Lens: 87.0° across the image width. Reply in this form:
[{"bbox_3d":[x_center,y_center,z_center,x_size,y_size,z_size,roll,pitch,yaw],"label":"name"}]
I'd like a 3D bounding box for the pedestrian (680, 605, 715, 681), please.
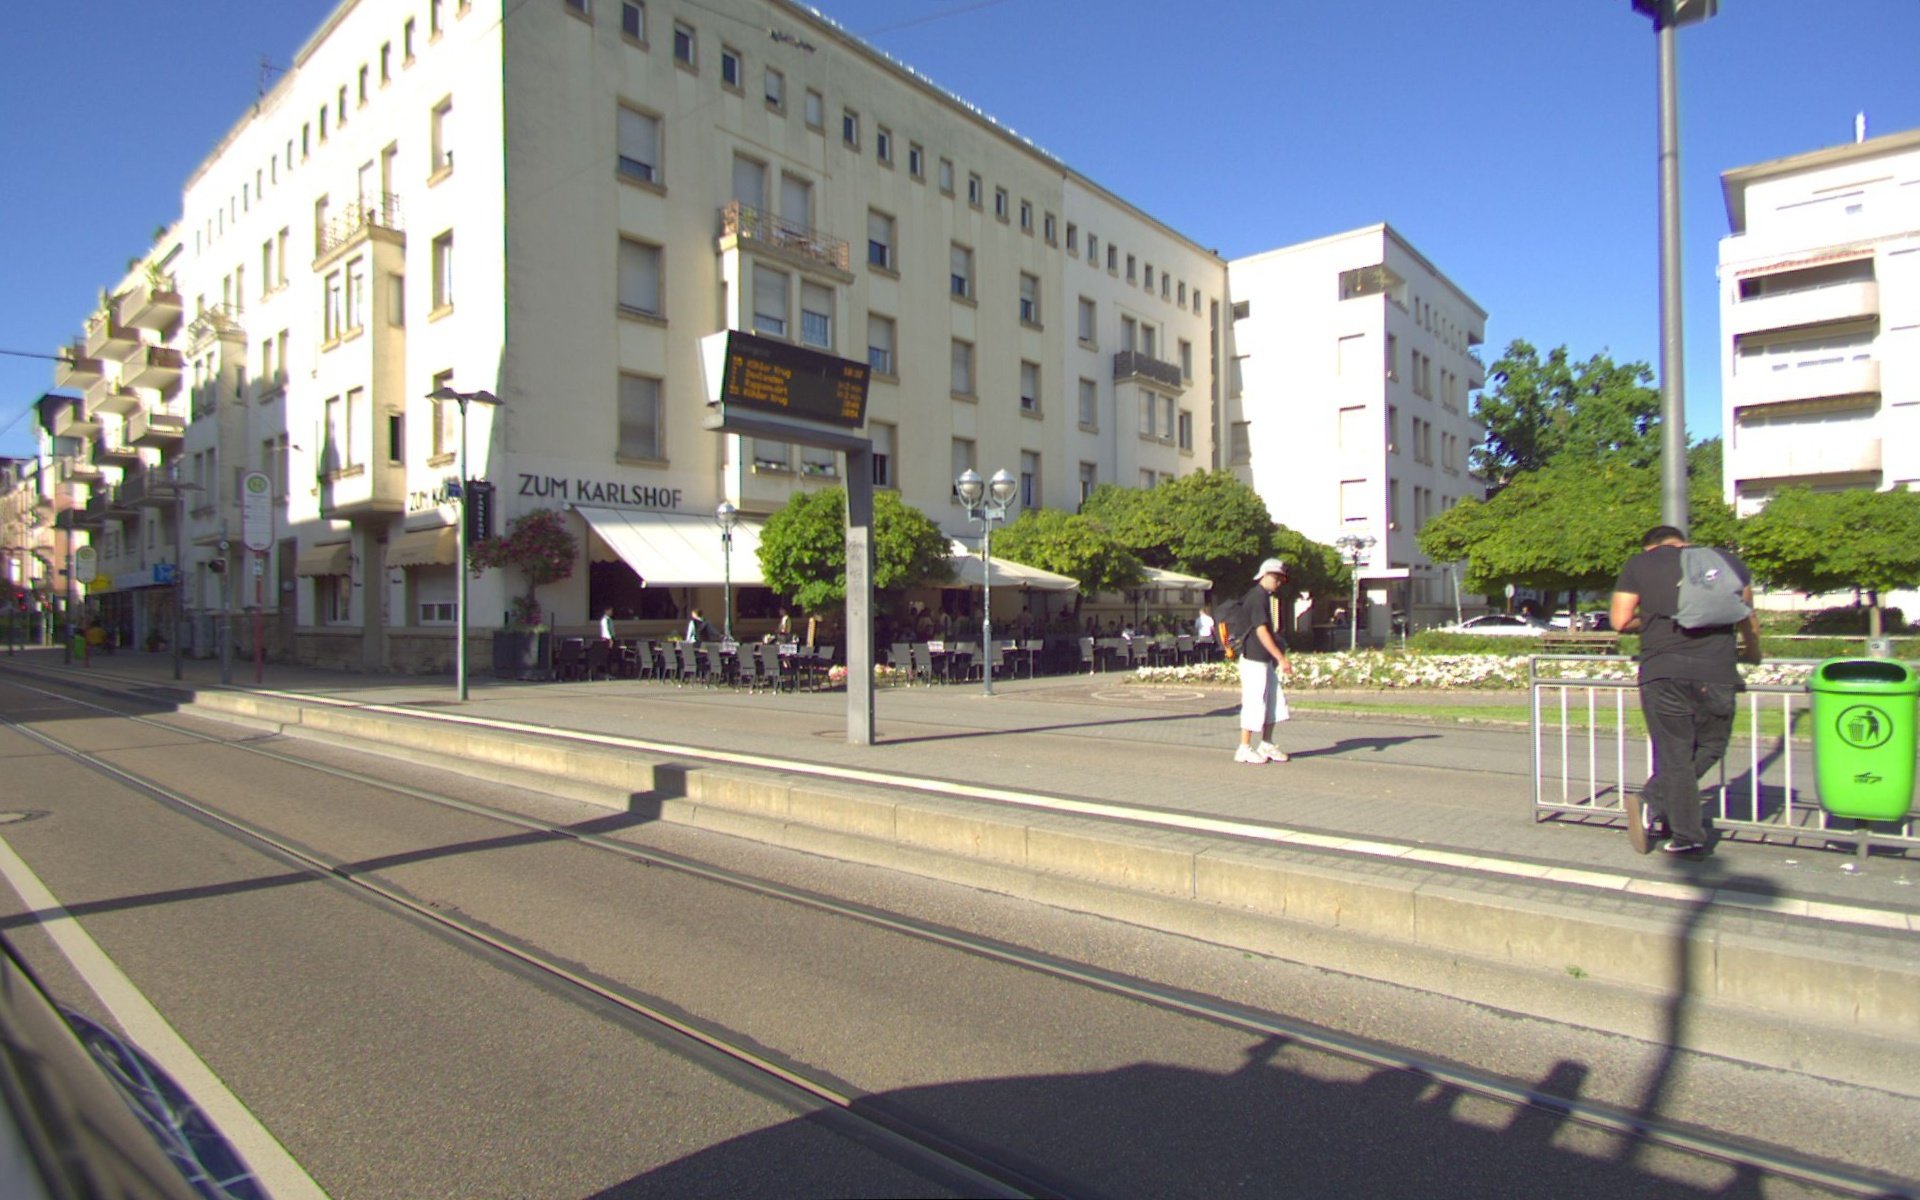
[{"bbox_3d":[-5.873,0.968,22.664,0.663,1.657,0.677,-2,-4,-6],"label":"pedestrian"}]

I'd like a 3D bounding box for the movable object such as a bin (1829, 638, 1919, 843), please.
[{"bbox_3d":[4.174,0.609,4.515,0.416,0.866,0.332,-2,-1,44],"label":"movable object such as a bin"}]

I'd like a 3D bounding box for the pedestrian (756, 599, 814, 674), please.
[{"bbox_3d":[-4.055,0.853,23.475,0.755,1.657,1.054,-5,-5,36],"label":"pedestrian"}]

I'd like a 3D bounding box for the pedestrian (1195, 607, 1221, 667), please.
[{"bbox_3d":[7.373,1.104,30.115,0.677,1.750,0.671,-3,-4,14],"label":"pedestrian"}]

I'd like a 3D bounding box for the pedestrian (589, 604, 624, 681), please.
[{"bbox_3d":[-7.816,0.951,22.355,0.662,1.657,0.753,-1,-4,-22],"label":"pedestrian"}]

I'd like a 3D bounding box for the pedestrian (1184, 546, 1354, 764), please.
[{"bbox_3d":[2.537,0.443,8.423,0.958,1.693,0.999,0,-2,-12],"label":"pedestrian"}]

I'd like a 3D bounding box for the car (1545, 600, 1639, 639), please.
[{"bbox_3d":[24.821,0.767,39.784,2.932,1.497,1.399,-1,-1,41],"label":"car"}]

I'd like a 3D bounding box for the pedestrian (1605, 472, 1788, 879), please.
[{"bbox_3d":[3.428,0.331,4.718,0.607,1.731,0.542,-2,-3,43],"label":"pedestrian"}]

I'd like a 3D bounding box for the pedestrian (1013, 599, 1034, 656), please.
[{"bbox_3d":[2.095,0.902,33.338,0.641,1.837,0.576,-1,-1,5],"label":"pedestrian"}]

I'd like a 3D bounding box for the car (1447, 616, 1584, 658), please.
[{"bbox_3d":[18.614,1.208,33.974,3.713,1.310,1.973,-1,-1,41],"label":"car"}]

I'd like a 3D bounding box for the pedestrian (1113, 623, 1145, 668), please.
[{"bbox_3d":[5.013,1.359,30.073,0.672,1.280,0.636,-5,-5,36],"label":"pedestrian"}]

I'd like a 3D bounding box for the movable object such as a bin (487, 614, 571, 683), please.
[{"bbox_3d":[-9.248,1.023,21.747,1.127,1.410,1.302,-1,-1,40],"label":"movable object such as a bin"}]

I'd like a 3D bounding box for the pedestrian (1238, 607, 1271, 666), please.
[{"bbox_3d":[8.950,1.126,30.768,0.710,1.750,0.673,-2,-4,1],"label":"pedestrian"}]
